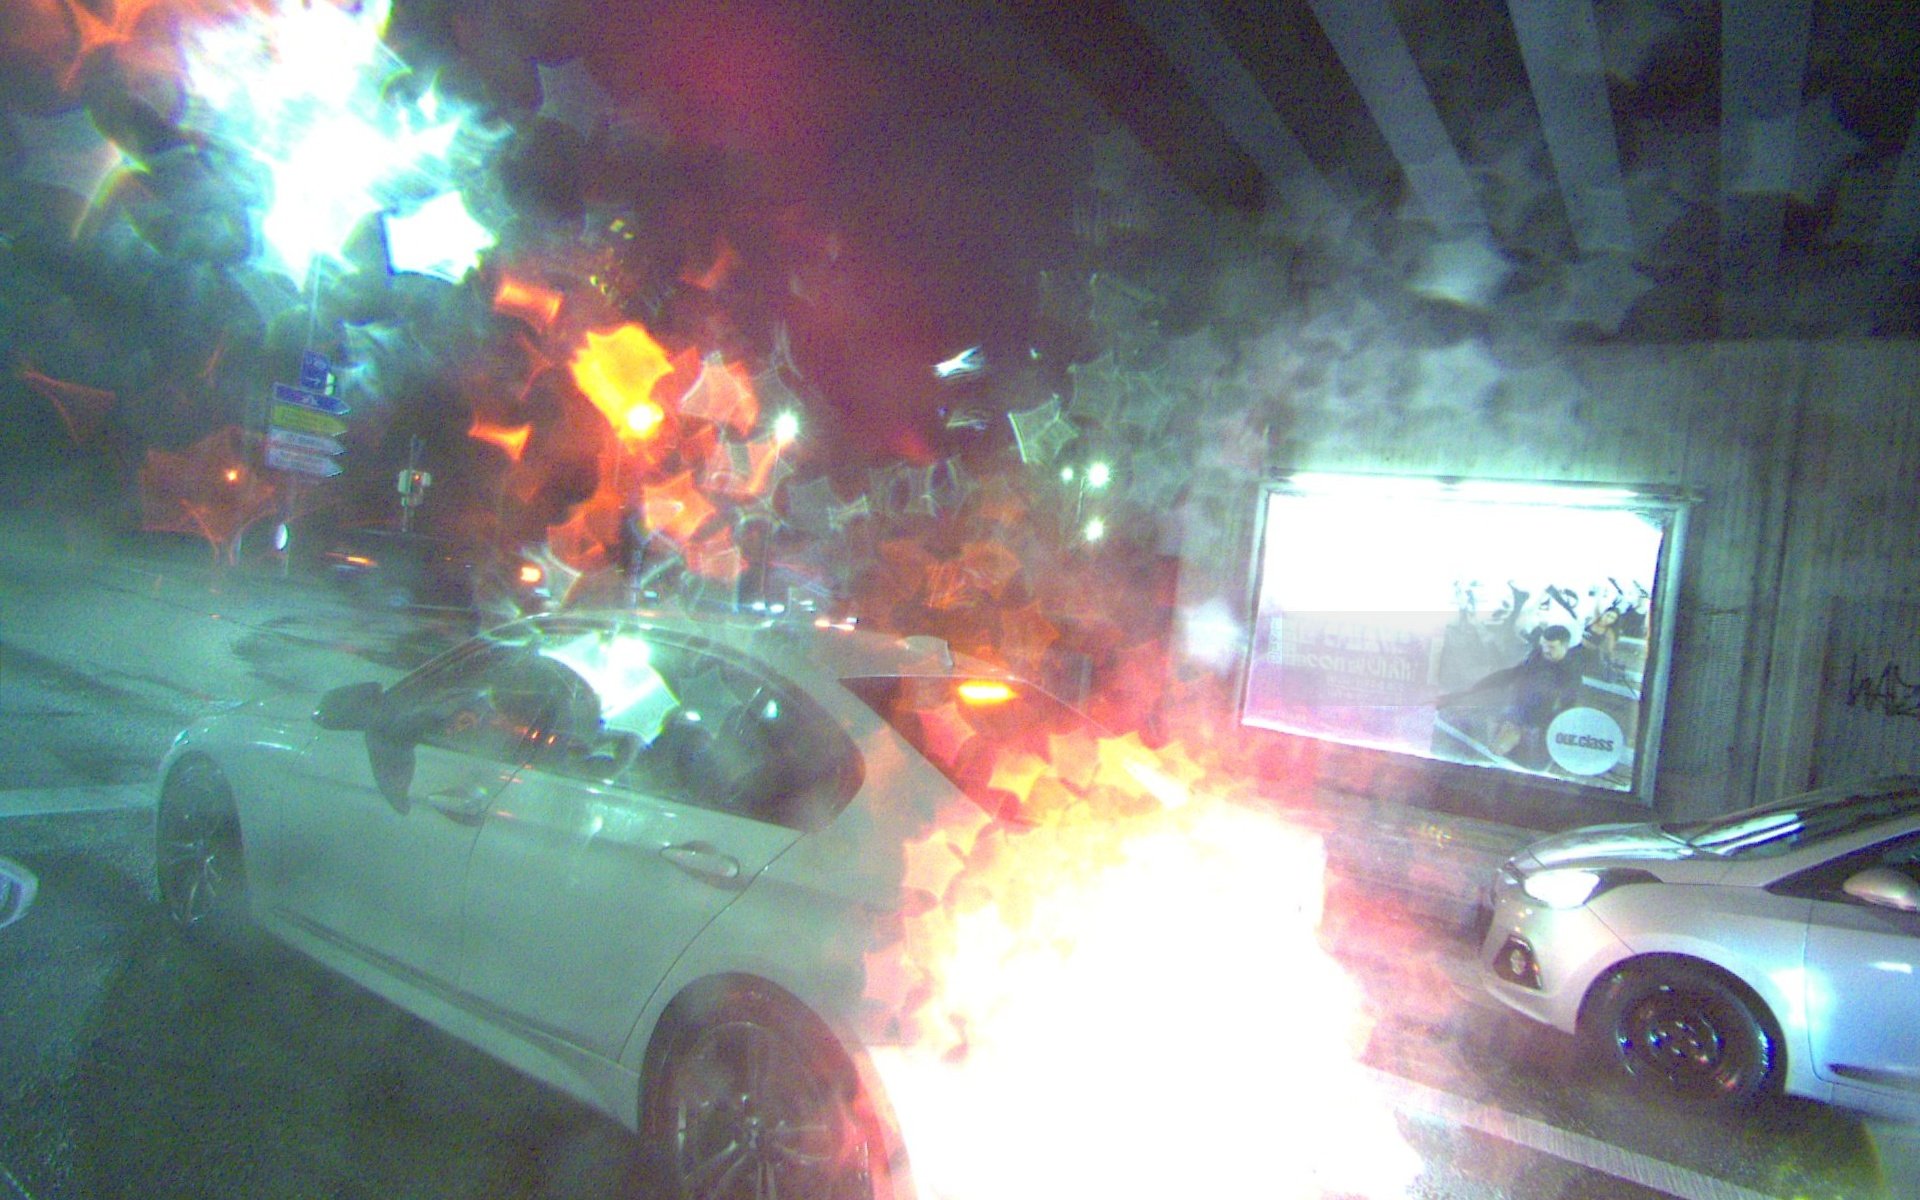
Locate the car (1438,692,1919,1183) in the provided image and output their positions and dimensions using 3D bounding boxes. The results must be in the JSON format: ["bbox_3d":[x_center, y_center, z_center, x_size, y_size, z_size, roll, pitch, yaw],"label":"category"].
[{"bbox_3d":[4.279,1.393,3.960,4.092,1.465,1.722,6,0,31],"label":"car"}]

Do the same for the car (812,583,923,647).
[{"bbox_3d":[-3.135,0.548,34.714,1.696,1.754,3.756,6,-2,34],"label":"car"}]

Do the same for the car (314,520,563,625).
[{"bbox_3d":[-11.449,-0.548,22.379,1.929,1.692,4.404,6,-2,37],"label":"car"}]

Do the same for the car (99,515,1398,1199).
[{"bbox_3d":[-0.975,0.651,3.508,4.309,1.465,1.722,6,0,31],"label":"car"}]

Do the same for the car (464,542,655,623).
[{"bbox_3d":[-11.035,-0.449,28.026,1.879,1.637,4.500,6,-2,38],"label":"car"}]
